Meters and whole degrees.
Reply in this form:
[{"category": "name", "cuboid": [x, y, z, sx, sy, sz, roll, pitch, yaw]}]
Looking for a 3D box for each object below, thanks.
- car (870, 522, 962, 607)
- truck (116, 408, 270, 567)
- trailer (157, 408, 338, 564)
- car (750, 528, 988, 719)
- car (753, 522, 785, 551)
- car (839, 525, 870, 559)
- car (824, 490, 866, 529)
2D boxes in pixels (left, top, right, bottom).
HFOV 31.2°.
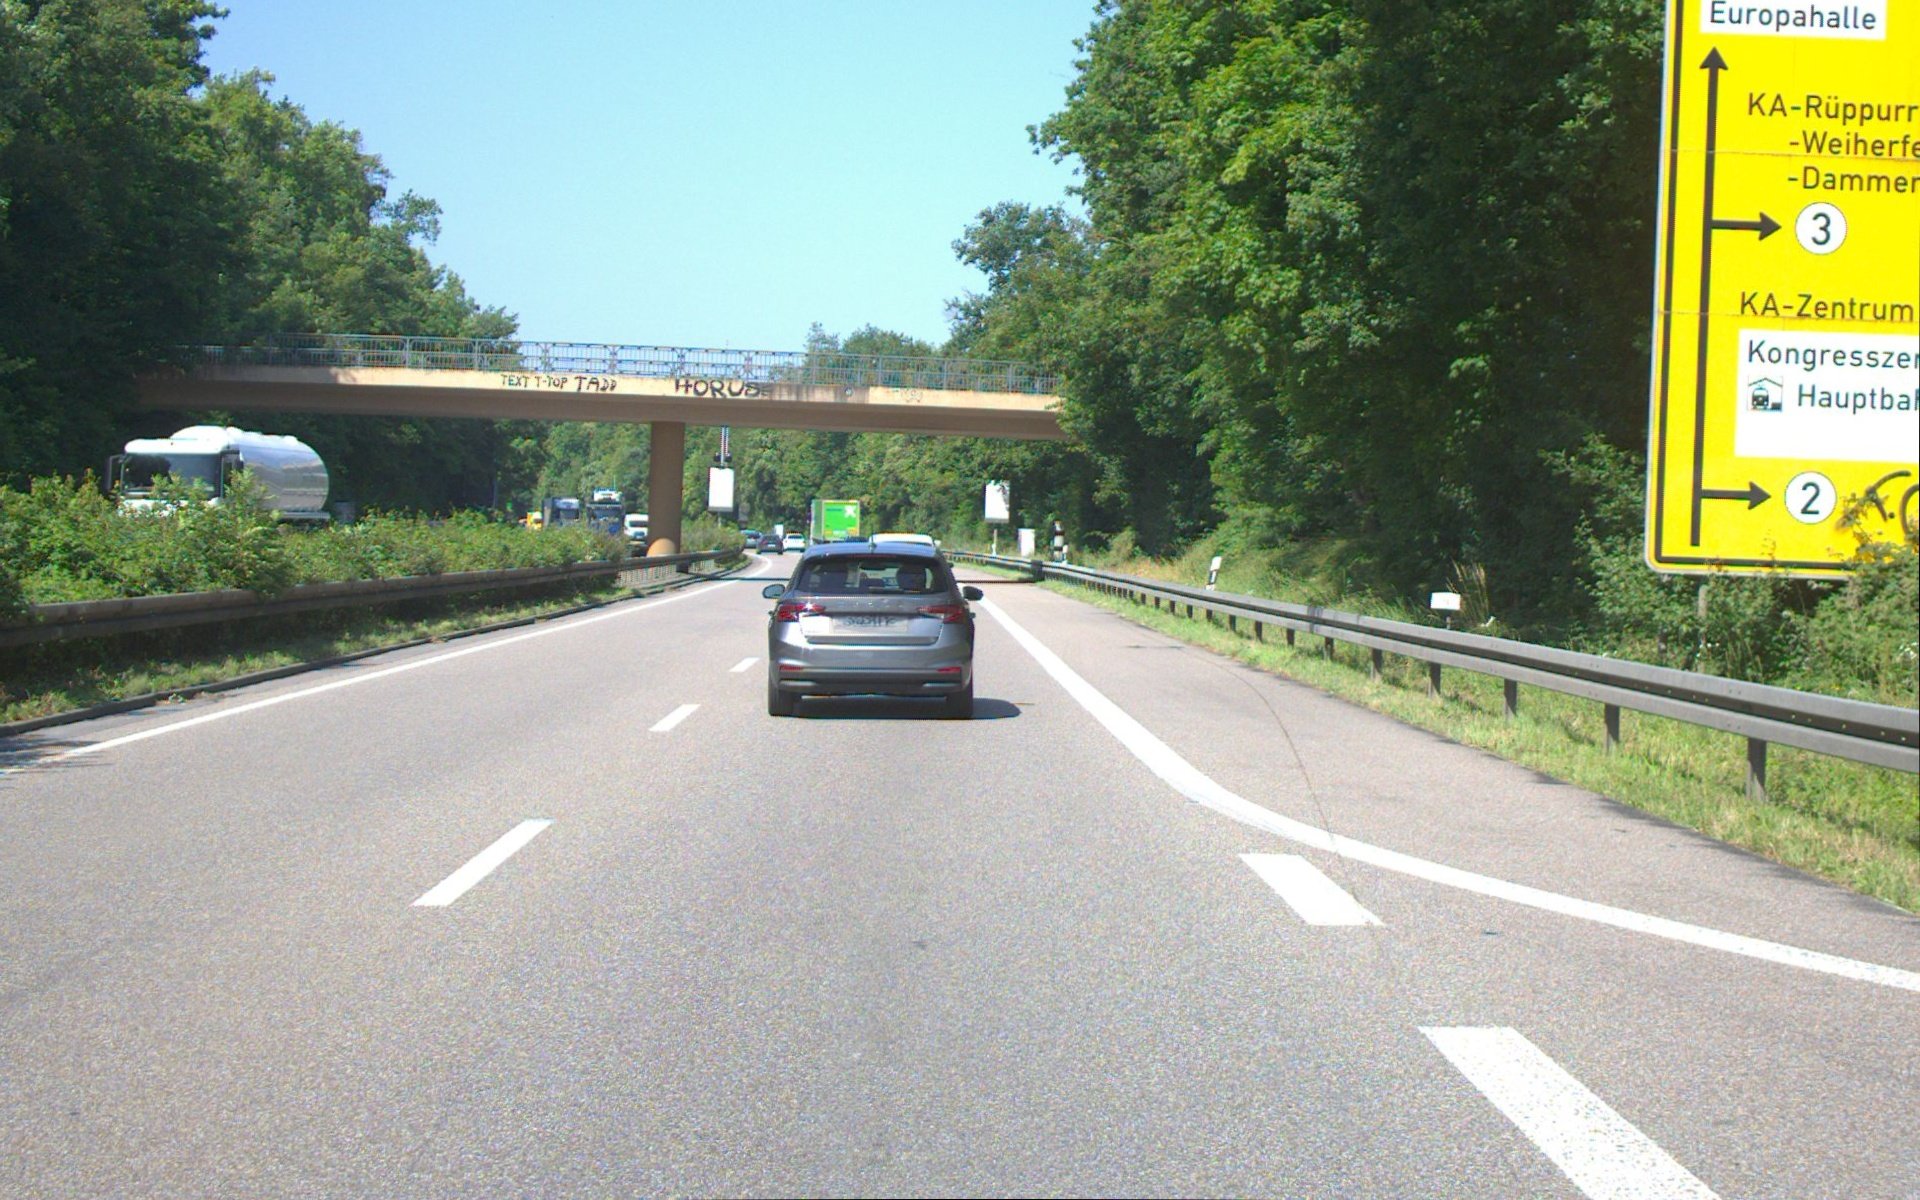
[{"category": "car", "cuboid": [-0.761, -0.657, 61.554, 1.522, 1.441, 3.340, 1, 2, 1]}, {"category": "truck", "cuboid": [-16.705, -2.427, 75.096, 2.338, 3.330, 4.542, 1, 1, -1]}, {"category": "trailer", "cuboid": [-16.794, -2.630, 81.769, 1.993, 3.390, 11.420, 1, 1, -1]}, {"category": "car", "cuboid": [-0.716, 0.152, 29.300, 1.840, 1.467, 3.623, 1, 2, 1]}, {"category": "car", "cuboid": [-13.463, -4.461, 242.297, 1.993, 2.007, 4.000, 1, 1, -1]}, {"category": "car", "cuboid": [-6.390, -3.523, 208.214, 1.763, 2.007, 3.587, 1, 1, 0]}, {"category": "car", "cuboid": [-7.945, -6.259, 238.135, 2.748, 2.645, 4.000, 1, 1, -1]}]
